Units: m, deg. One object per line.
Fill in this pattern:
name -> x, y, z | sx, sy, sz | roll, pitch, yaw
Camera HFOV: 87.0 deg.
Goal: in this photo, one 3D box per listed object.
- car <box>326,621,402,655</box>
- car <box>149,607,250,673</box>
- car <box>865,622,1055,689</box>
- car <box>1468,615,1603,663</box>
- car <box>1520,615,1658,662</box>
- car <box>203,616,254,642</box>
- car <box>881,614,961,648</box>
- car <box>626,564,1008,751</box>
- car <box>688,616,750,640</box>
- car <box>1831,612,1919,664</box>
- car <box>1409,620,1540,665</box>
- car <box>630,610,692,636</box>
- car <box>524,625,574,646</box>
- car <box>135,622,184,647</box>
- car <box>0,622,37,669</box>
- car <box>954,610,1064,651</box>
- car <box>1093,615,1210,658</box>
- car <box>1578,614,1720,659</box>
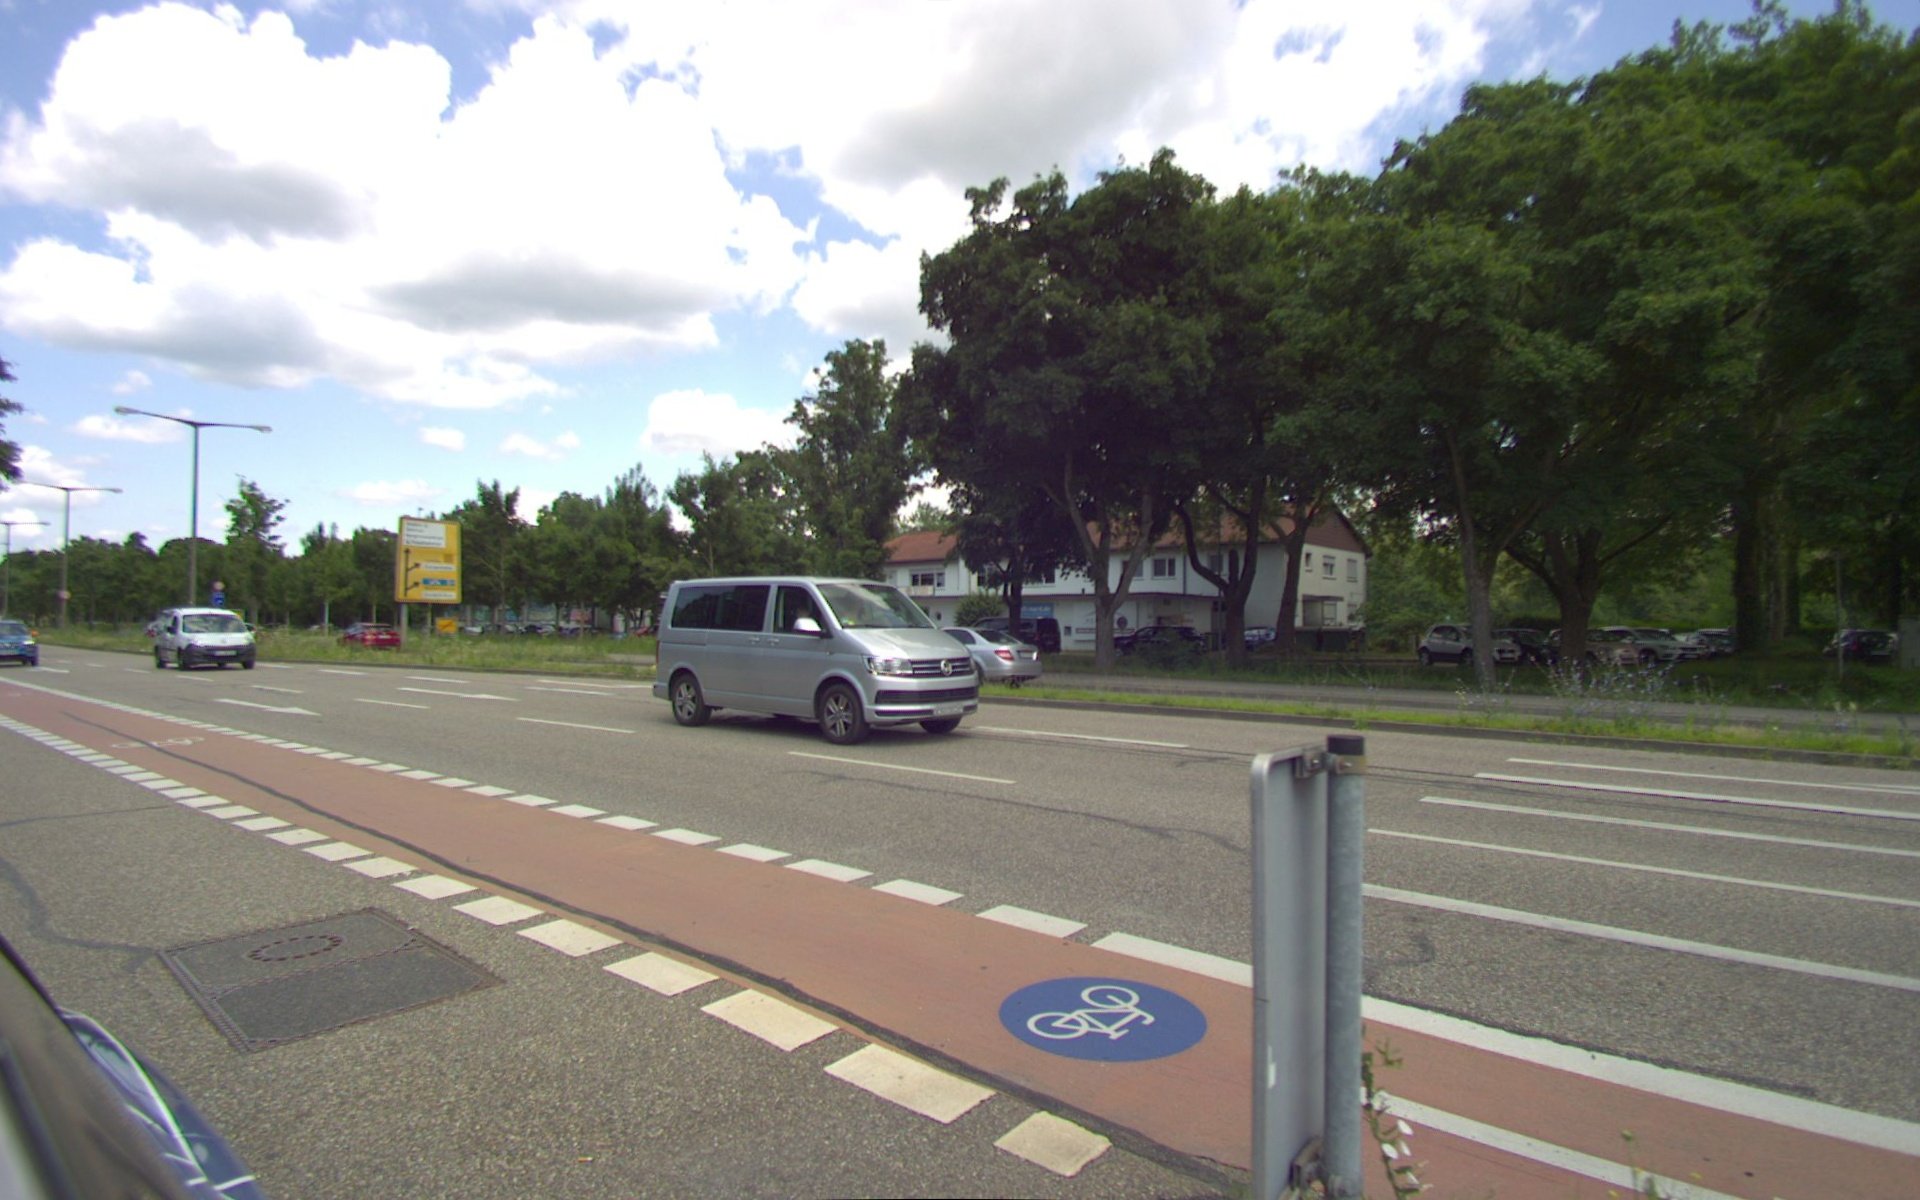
car -> -28.264, 1.767, 47.966 | 3.996, 1.523, 1.868 | -1, -1, 40
car -> -22.317, 1.136, 29.659 | 4.157, 1.799, 1.723 | -1, -1, 44
car -> -0.073, 1.272, 24.103 | 4.494, 1.443, 1.781 | -1, -2, 41
car -> 20.387, 1.389, 36.061 | 1.967, 1.600, 4.032 | 1, -2, -12
car -> 22.690, 1.431, 36.710 | 1.967, 1.600, 4.032 | 1, -3, -12
car -> -43.411, 1.693, 60.041 | 3.590, 1.456, 1.595 | -1, -1, 40
car -> -1.953, 1.505, 49.624 | 3.666, 1.600, 1.896 | -1, -3, 43
car -> -2.006, 0.654, 12.900 | 5.228, 1.933, 1.795 | -1, -2, 40
car -> -14.397, 1.665, 60.321 | 3.865, 1.422, 1.706 | -1, -3, 43
car -> 32.490, 1.346, 35.850 | 4.062, 1.741, 1.822 | 2, -2, -40
car -> 17.879, 1.462, 35.411 | 1.967, 1.495, 4.032 | 1, -2, -12
car -> -19.102, 1.473, 64.626 | 4.023, 1.600, 1.972 | -1, -3, 43
car -> -31.021, 2.663, 76.404 | 4.023, 1.600, 1.972 | -1, -3, 43
car -> -53.584, 2.276, 67.729 | 4.000, 1.630, 1.972 | -1, -3, 43
car -> -31.055, 1.440, 32.599 | 3.703, 1.475, 1.583 | -1, -3, 43
car -> 2.159, 1.367, 45.592 | 4.929, 1.724, 1.862 | -1, -3, 43
car -> 7.818, 1.450, 41.461 | 4.349, 1.670, 1.793 | -1, -1, 32
car -> 25.126, 1.319, 37.097 | 1.967, 1.557, 4.032 | 1, -2, -12
